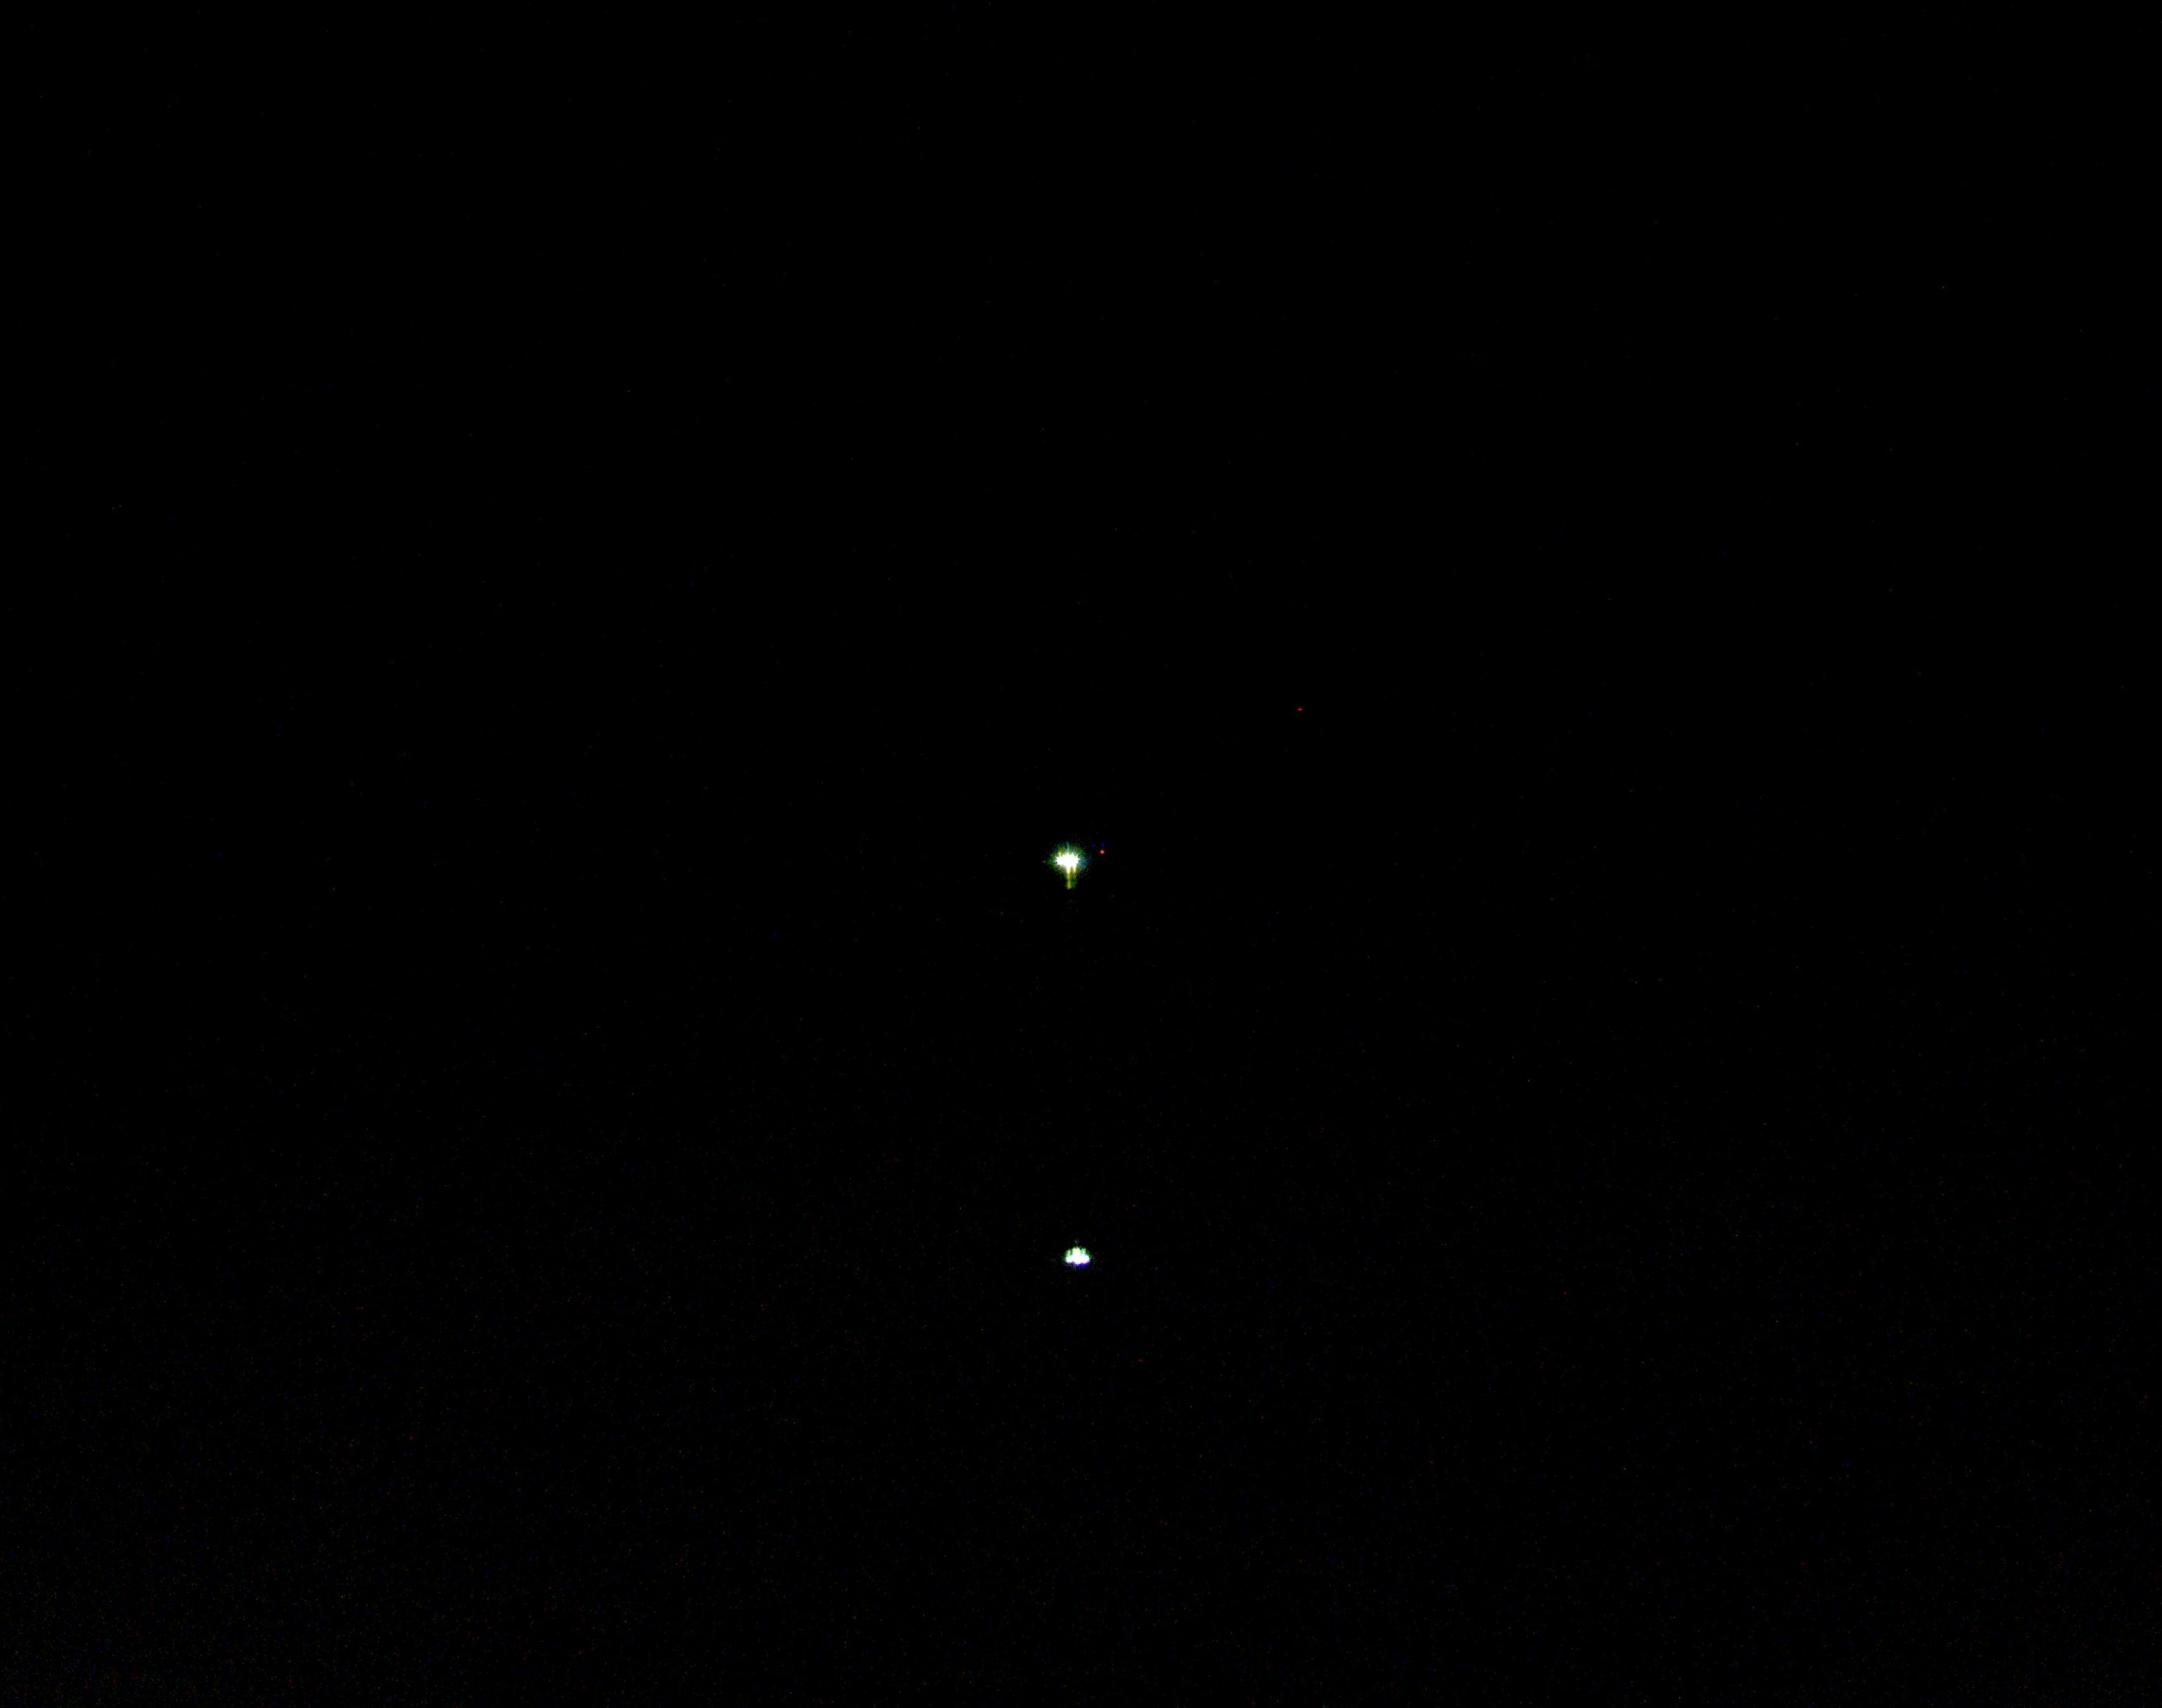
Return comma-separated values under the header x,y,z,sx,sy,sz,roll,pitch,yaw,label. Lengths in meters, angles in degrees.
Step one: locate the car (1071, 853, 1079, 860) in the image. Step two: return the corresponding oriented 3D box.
x,y,z,sx,sy,sz,roll,pitch,yaw,label
-1.388,0.681,187.595,1.846,1.474,4.293,-2,-1,0,car
